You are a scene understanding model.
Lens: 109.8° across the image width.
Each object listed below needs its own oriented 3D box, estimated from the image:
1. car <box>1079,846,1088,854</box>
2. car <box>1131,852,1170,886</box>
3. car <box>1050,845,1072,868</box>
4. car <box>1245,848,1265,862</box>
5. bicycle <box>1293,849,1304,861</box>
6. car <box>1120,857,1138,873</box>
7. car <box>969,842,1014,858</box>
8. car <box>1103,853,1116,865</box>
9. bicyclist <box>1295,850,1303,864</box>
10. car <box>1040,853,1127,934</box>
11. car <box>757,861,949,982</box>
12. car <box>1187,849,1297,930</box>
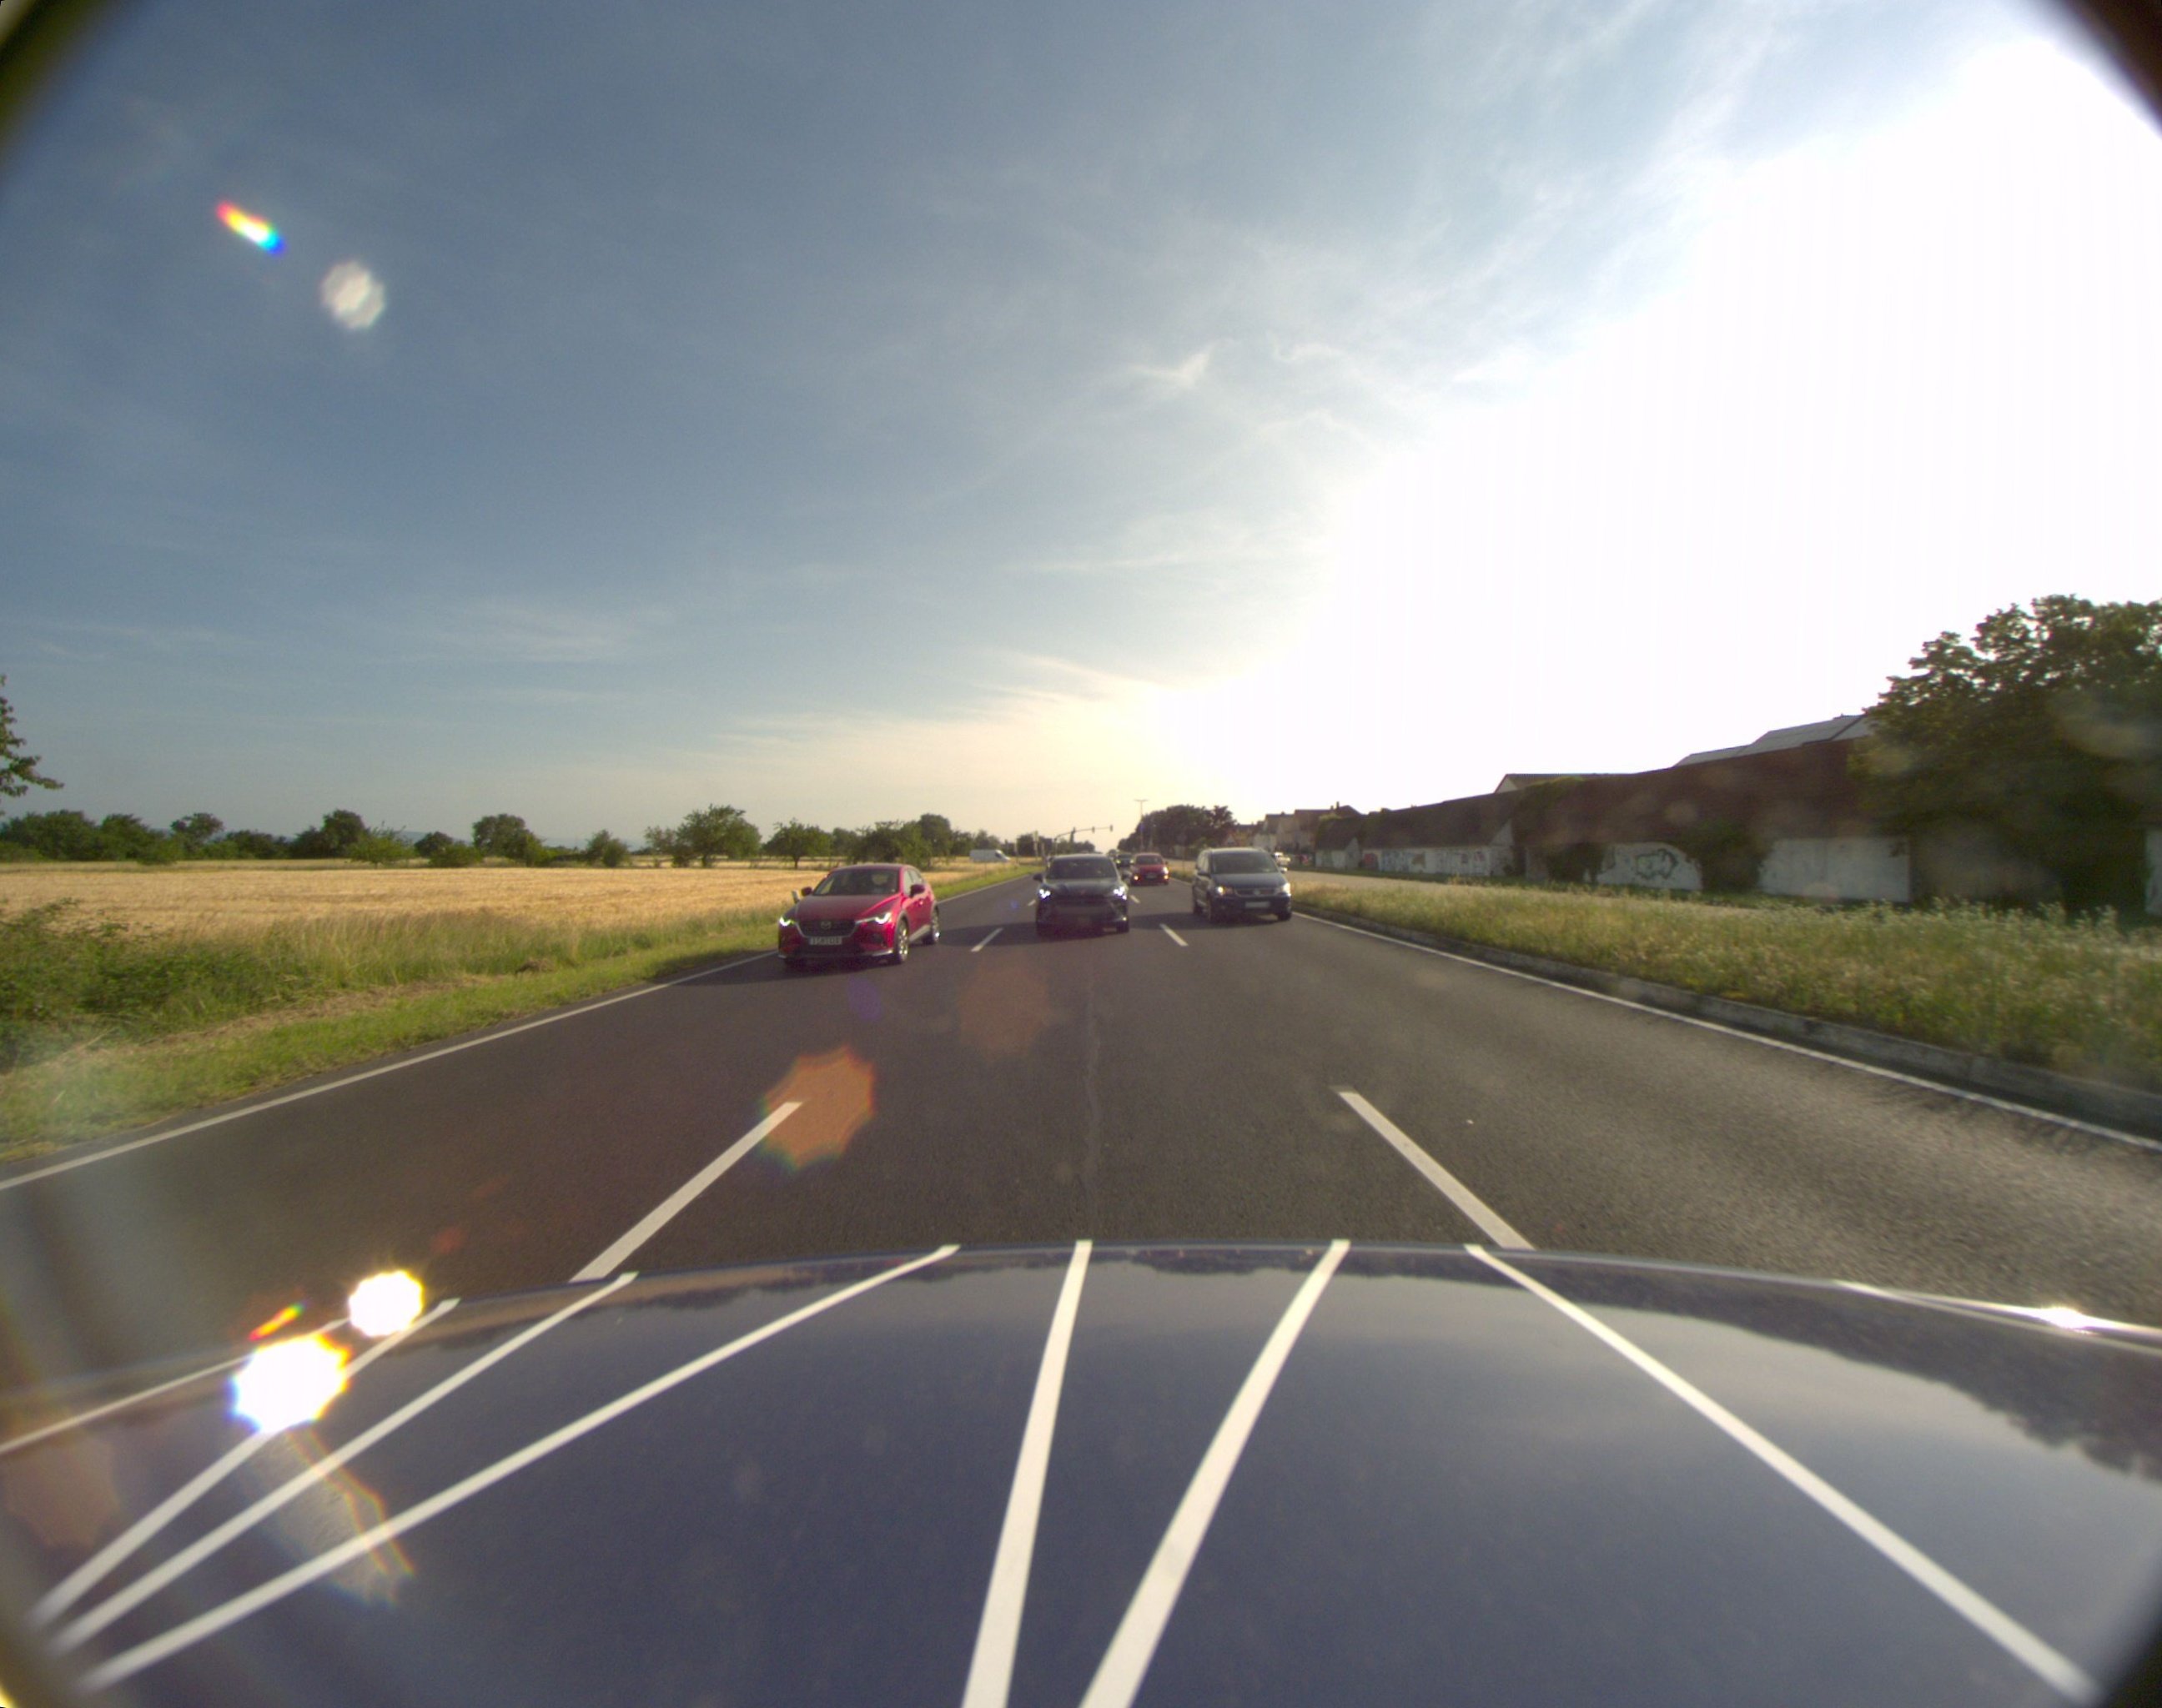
[{"bbox_3d":[0.608,-1.147,197.790,1.999,2.002,3.999,-2,1,-2],"label":"car"},{"bbox_3d":[3.523,0.710,39.114,1.748,1.537,4.000,-2,1,2],"label":"car"},{"bbox_3d":[-1.860,0.173,71.678,1.999,2.002,3.999,-2,1,-1],"label":"car"},{"bbox_3d":[23.142,0.161,101.315,1.840,1.697,4.758,2,1,5],"label":"car"},{"bbox_3d":[30.915,0.144,108.036,0.755,1.739,2.607,-2,1,2],"label":"bicycle"},{"bbox_3d":[5.074,1.161,81.129,1.718,1.521,4.000,-2,1,2],"label":"car"},{"bbox_3d":[-14.881,-0.663,126.091,7.201,2.654,2.094,0,2,15],"label":"car"},{"bbox_3d":[5.093,0.872,137.331,1.999,2.002,3.999,-2,1,-2],"label":"car"},{"bbox_3d":[30.940,0.430,107.828,0.772,2.002,1.062,-2,1,1],"label":"bicyclist"},{"bbox_3d":[0.128,0.830,18.154,1.791,1.594,4.339,-2,1,2],"label":"car"},{"bbox_3d":[-3.509,0.945,12.632,1.708,1.497,4.500,-2,1,1],"label":"car"},{"bbox_3d":[3.690,0.725,18.168,1.777,1.612,4.681,-1,1,2],"label":"car"}]
